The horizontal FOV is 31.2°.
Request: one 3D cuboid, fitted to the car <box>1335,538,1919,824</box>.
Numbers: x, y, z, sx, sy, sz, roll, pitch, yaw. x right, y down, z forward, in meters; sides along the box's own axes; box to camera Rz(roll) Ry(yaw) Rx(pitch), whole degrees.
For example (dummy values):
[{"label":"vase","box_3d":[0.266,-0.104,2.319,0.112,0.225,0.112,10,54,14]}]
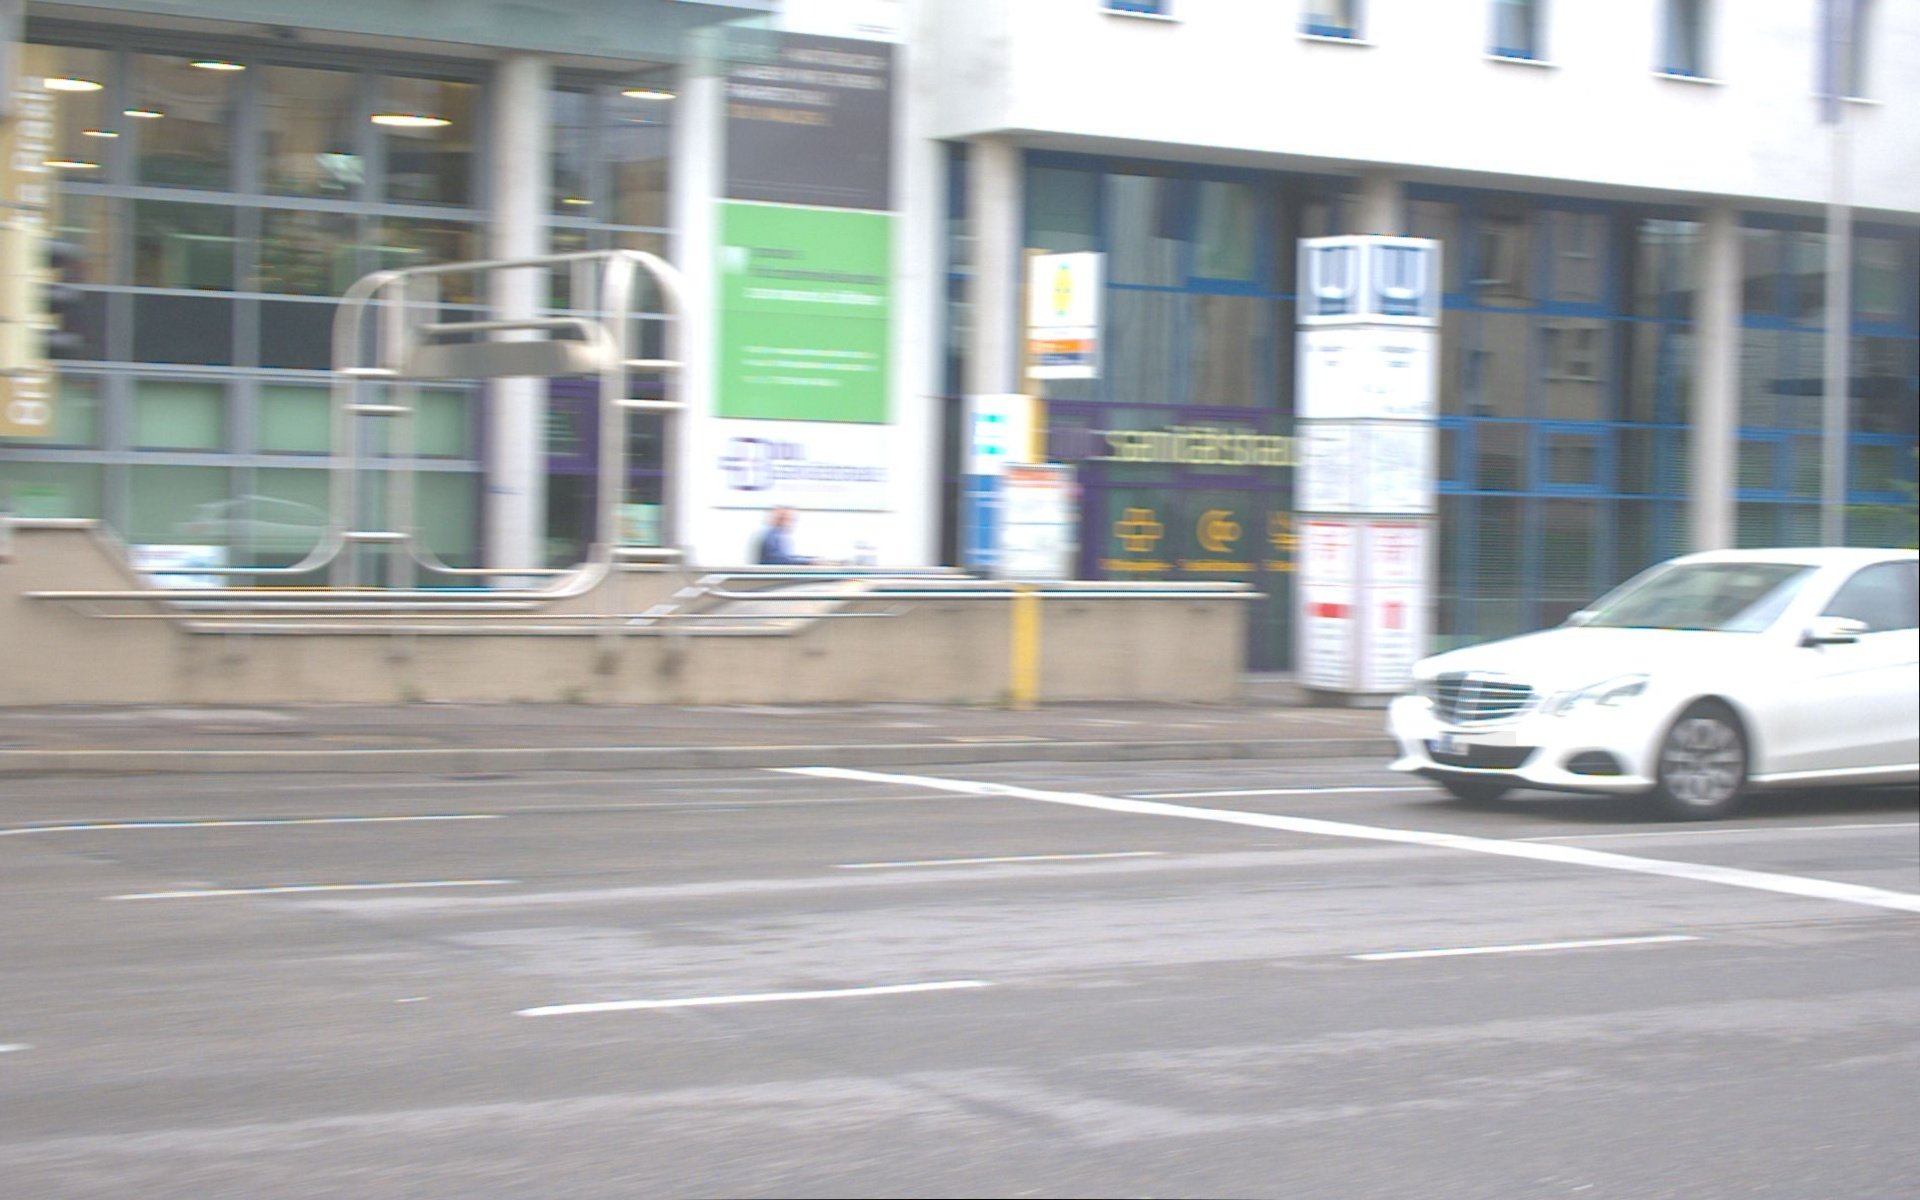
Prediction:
[{"label":"car","box_3d":[4.585,0.410,19.070,4.947,1.382,1.823,1,1,-34]}]
